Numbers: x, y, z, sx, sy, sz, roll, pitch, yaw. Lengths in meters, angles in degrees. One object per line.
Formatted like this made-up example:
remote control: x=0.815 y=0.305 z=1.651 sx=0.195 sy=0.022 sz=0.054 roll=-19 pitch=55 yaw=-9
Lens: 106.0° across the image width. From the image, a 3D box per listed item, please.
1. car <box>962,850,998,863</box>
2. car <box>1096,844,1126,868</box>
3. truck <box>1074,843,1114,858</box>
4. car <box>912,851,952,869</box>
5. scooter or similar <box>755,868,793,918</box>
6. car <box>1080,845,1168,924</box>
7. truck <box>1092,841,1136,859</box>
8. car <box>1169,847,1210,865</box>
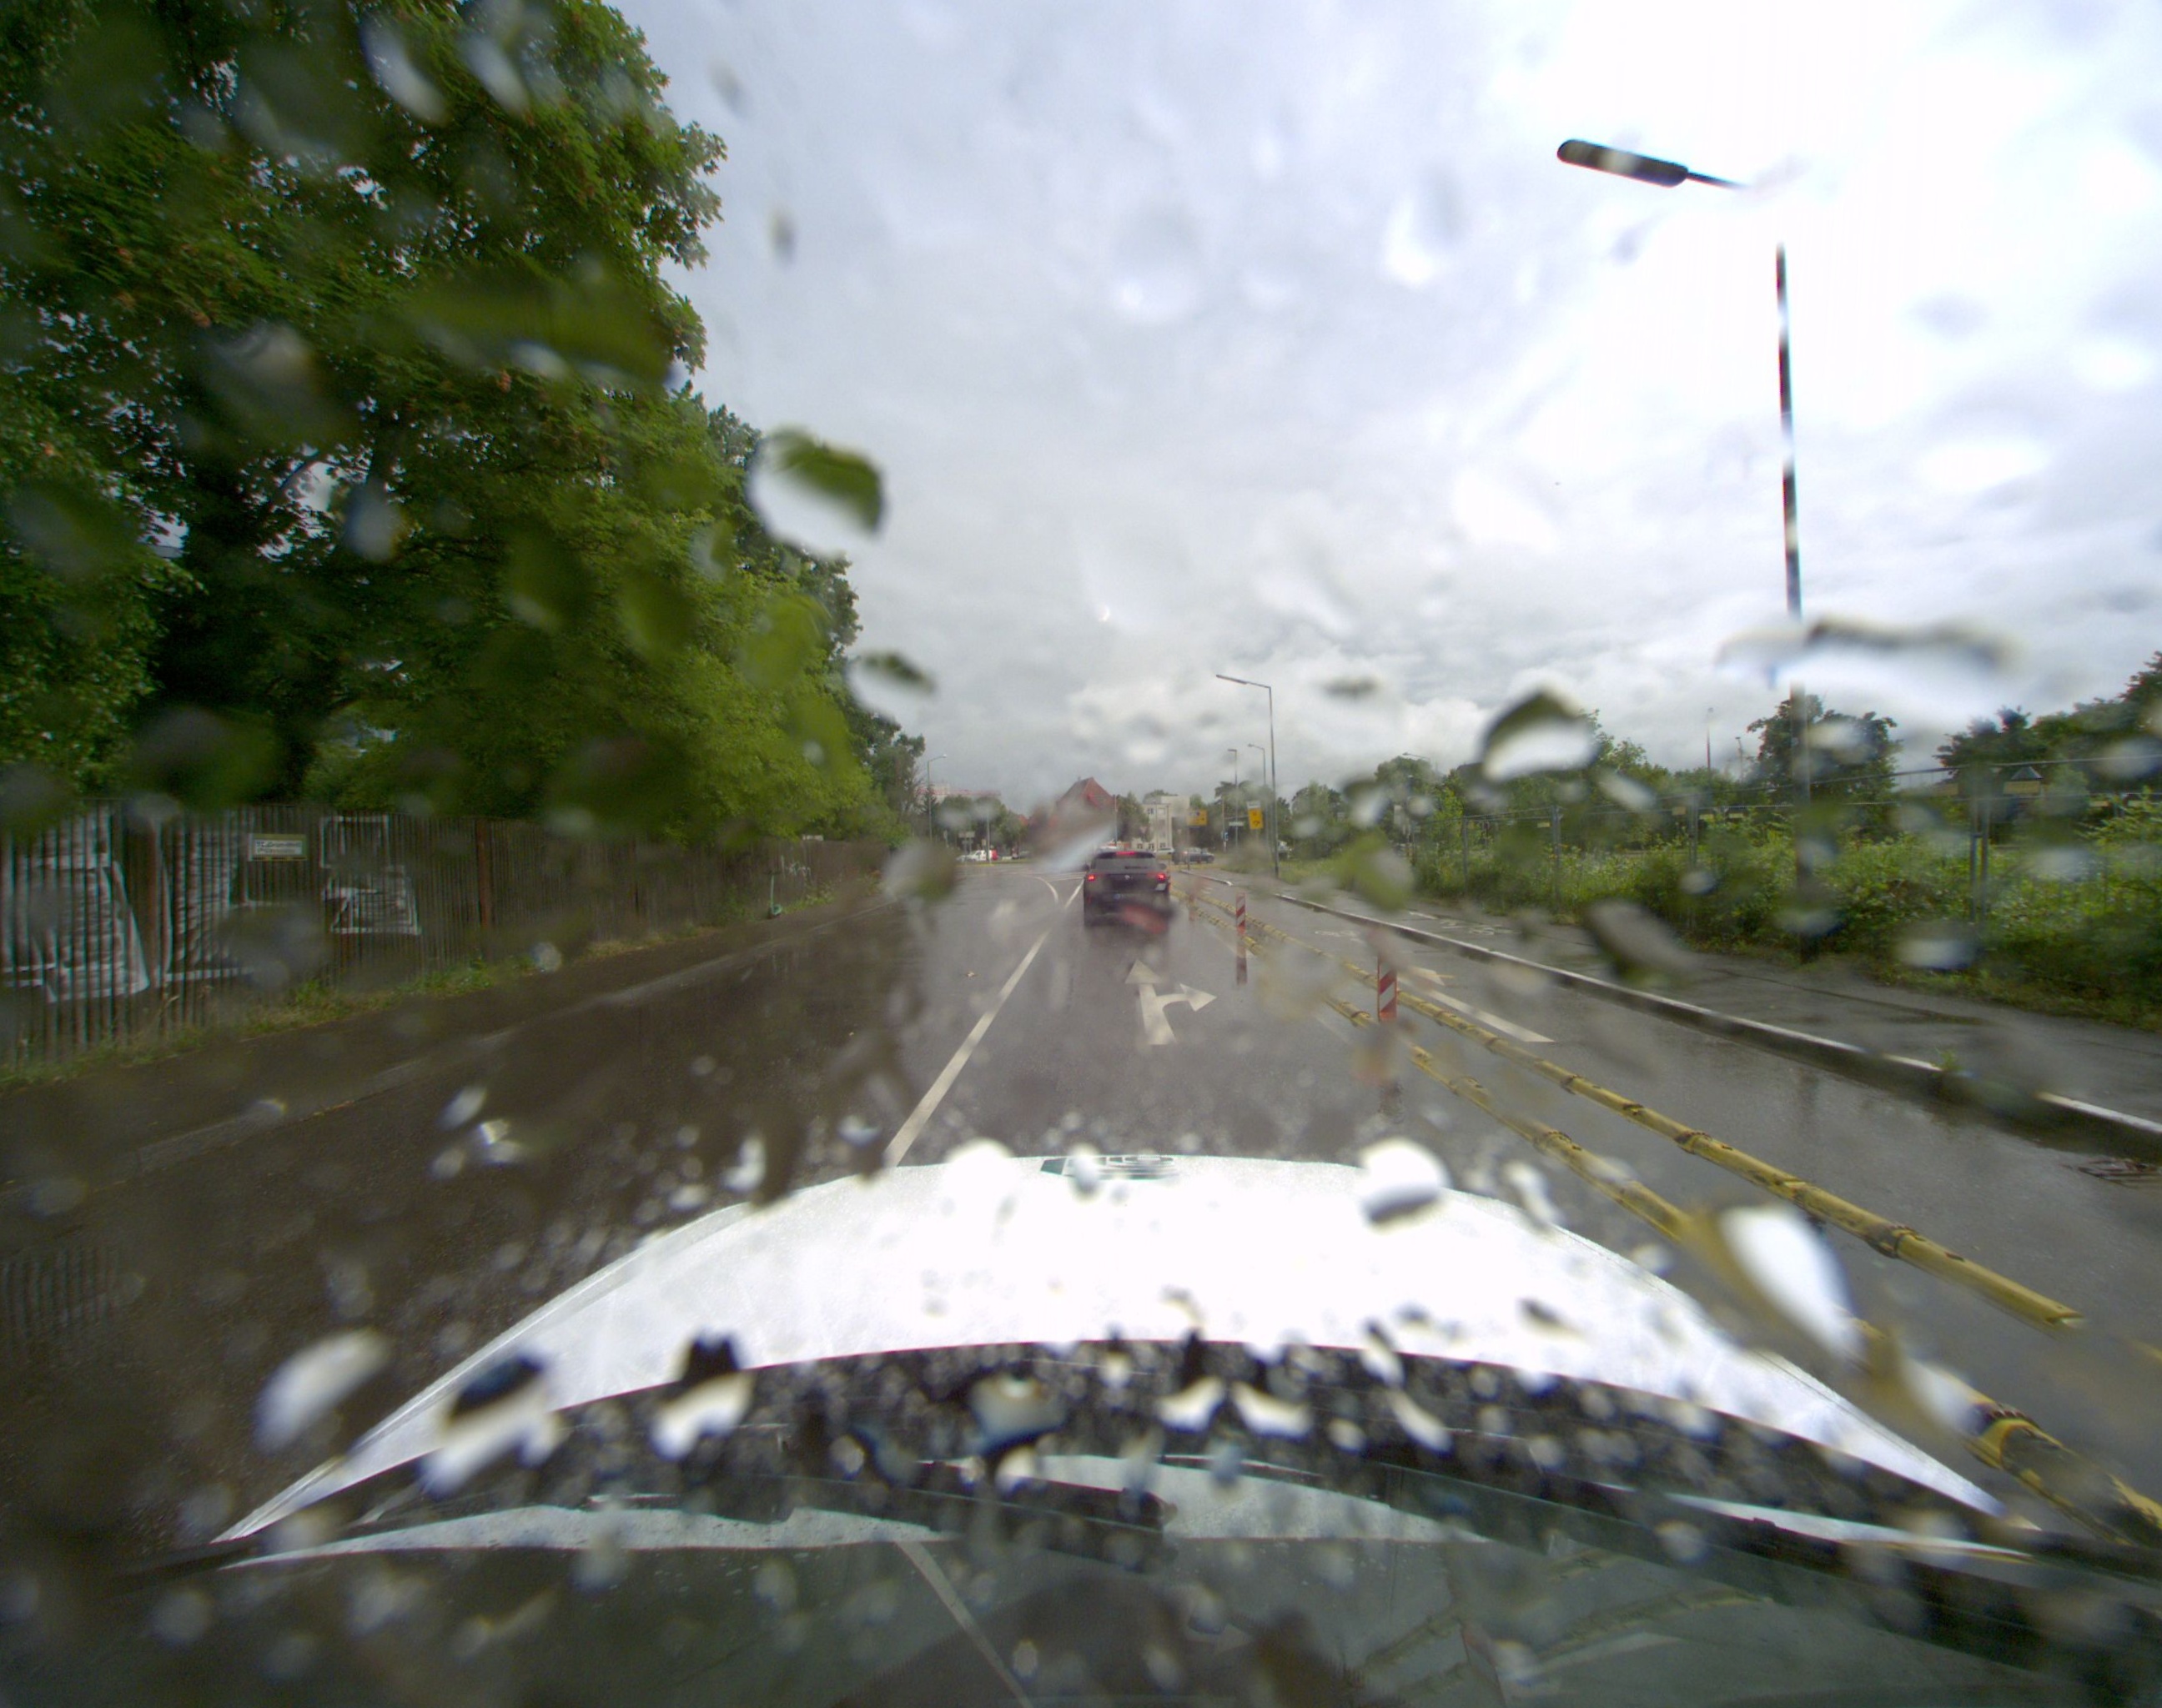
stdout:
car: x=-15.249 y=0.369 z=123.156 sx=5.160 sy=1.876 sz=1.871 roll=-2 pitch=0 yaw=-42
car: x=2.357 y=0.132 z=62.788 sx=1.854 sy=1.809 sz=4.412 roll=-1 pitch=0 yaw=7
truck: x=2.155 y=-0.626 z=140.676 sx=6.689 sy=2.442 sz=2.431 roll=-2 pitch=0 yaw=-4
car: x=-16.059 y=0.676 z=87.736 sx=3.948 sy=1.830 sz=2.013 roll=-2 pitch=0 yaw=36
scooter or similar: x=-7.598 y=0.939 z=20.203 sx=0.561 sy=1.162 sz=1.206 roll=-2 pitch=0 yaw=-6
car: x=0.861 y=0.614 z=18.235 sx=1.704 sy=1.574 sz=3.681 roll=-1 pitch=0 yaw=-1
truck: x=5.383 y=-0.649 z=132.362 sx=7.037 sy=2.650 sz=2.332 roll=-1 pitch=0 yaw=3
car: x=10.278 y=0.179 z=76.733 sx=3.976 sy=1.644 sz=1.651 roll=-1 pitch=0 yaw=-42
